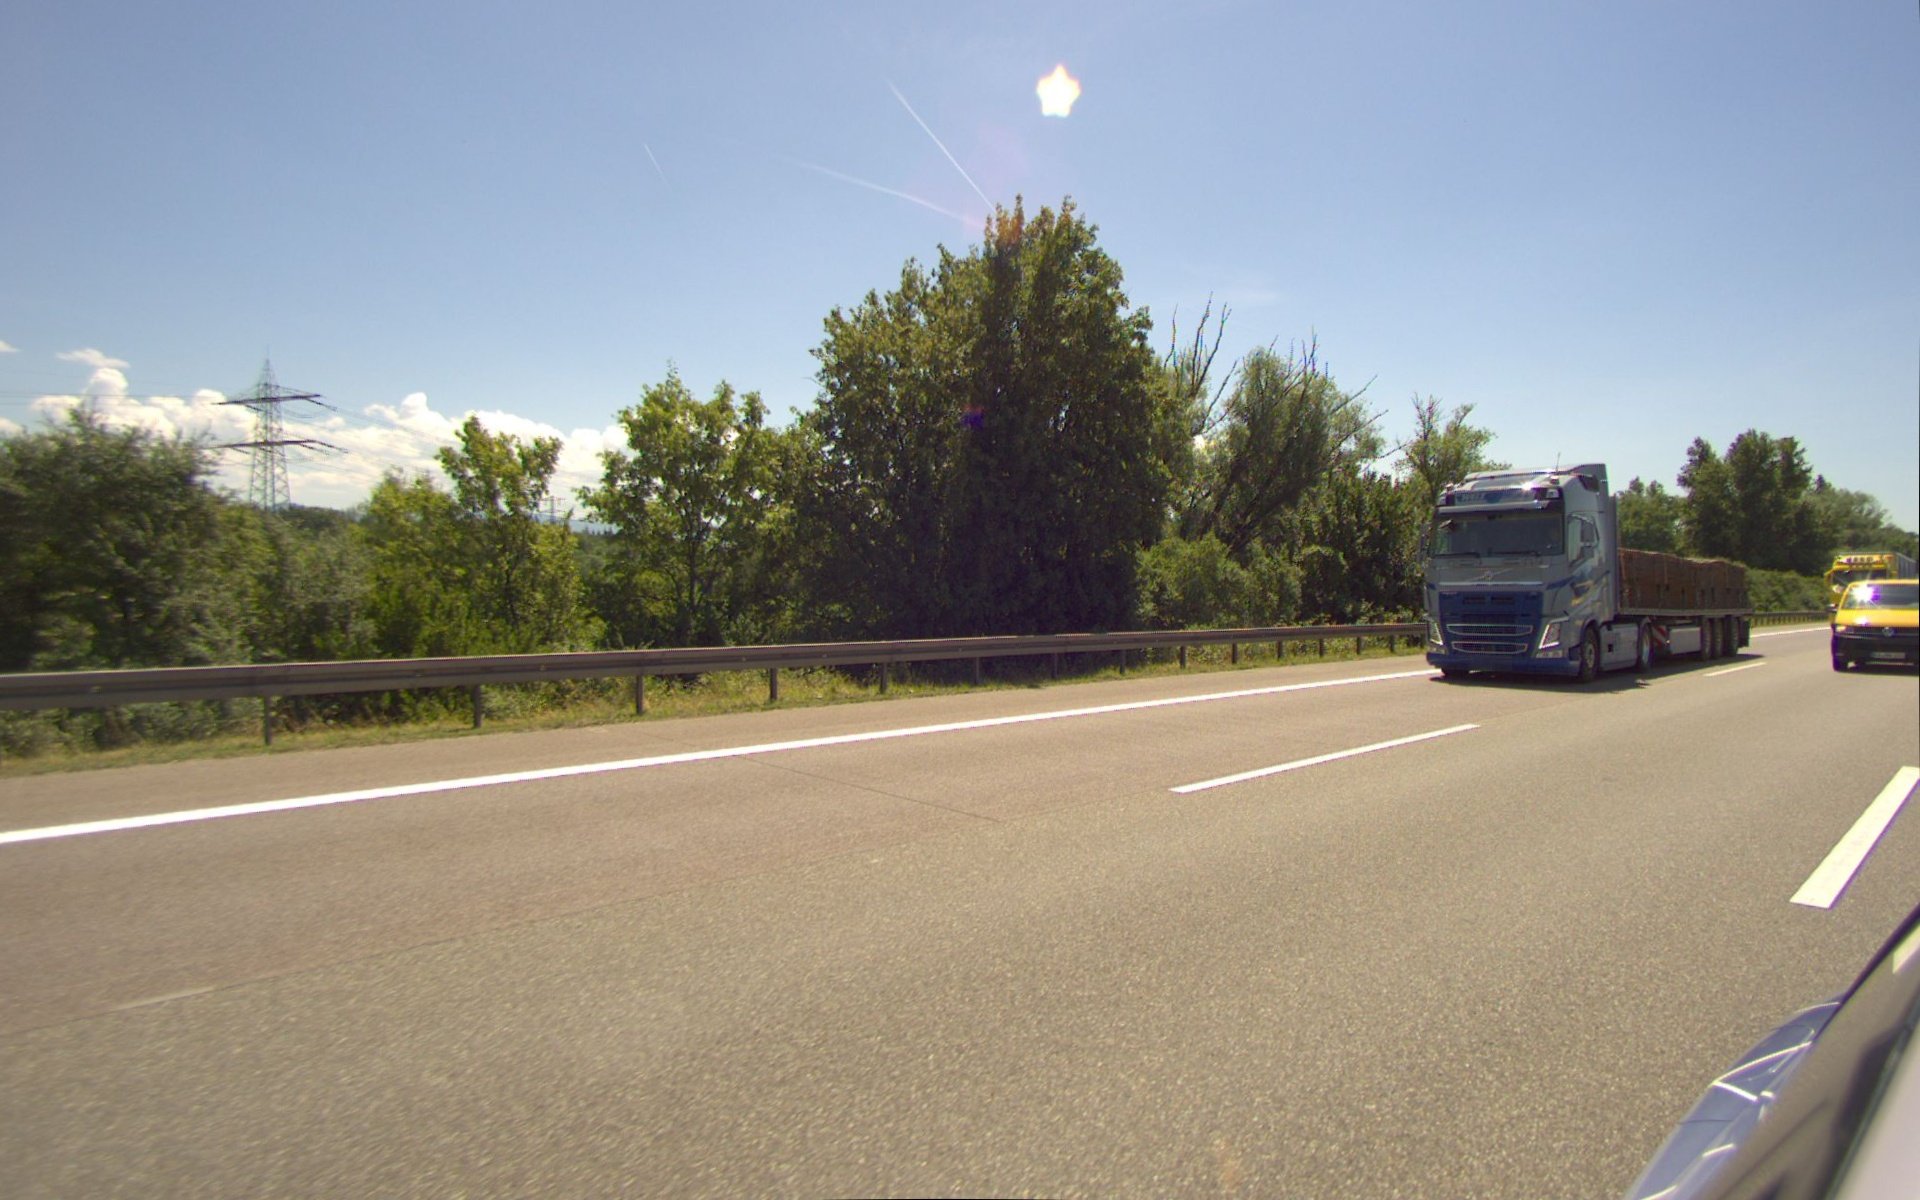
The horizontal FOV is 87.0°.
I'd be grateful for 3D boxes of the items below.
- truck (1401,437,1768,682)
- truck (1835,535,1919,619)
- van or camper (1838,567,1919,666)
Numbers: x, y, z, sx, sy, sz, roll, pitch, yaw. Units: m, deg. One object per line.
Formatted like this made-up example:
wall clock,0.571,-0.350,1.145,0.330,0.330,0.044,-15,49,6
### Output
truck,15.145,-0.744,23.236,16.333,4.007,2.972,-1,0,-43
truck,53.734,-1.324,58.600,16.509,4.310,2.848,-1,2,-43
van or camper,20.482,0.325,21.686,4.887,1.933,1.996,0,0,-43
